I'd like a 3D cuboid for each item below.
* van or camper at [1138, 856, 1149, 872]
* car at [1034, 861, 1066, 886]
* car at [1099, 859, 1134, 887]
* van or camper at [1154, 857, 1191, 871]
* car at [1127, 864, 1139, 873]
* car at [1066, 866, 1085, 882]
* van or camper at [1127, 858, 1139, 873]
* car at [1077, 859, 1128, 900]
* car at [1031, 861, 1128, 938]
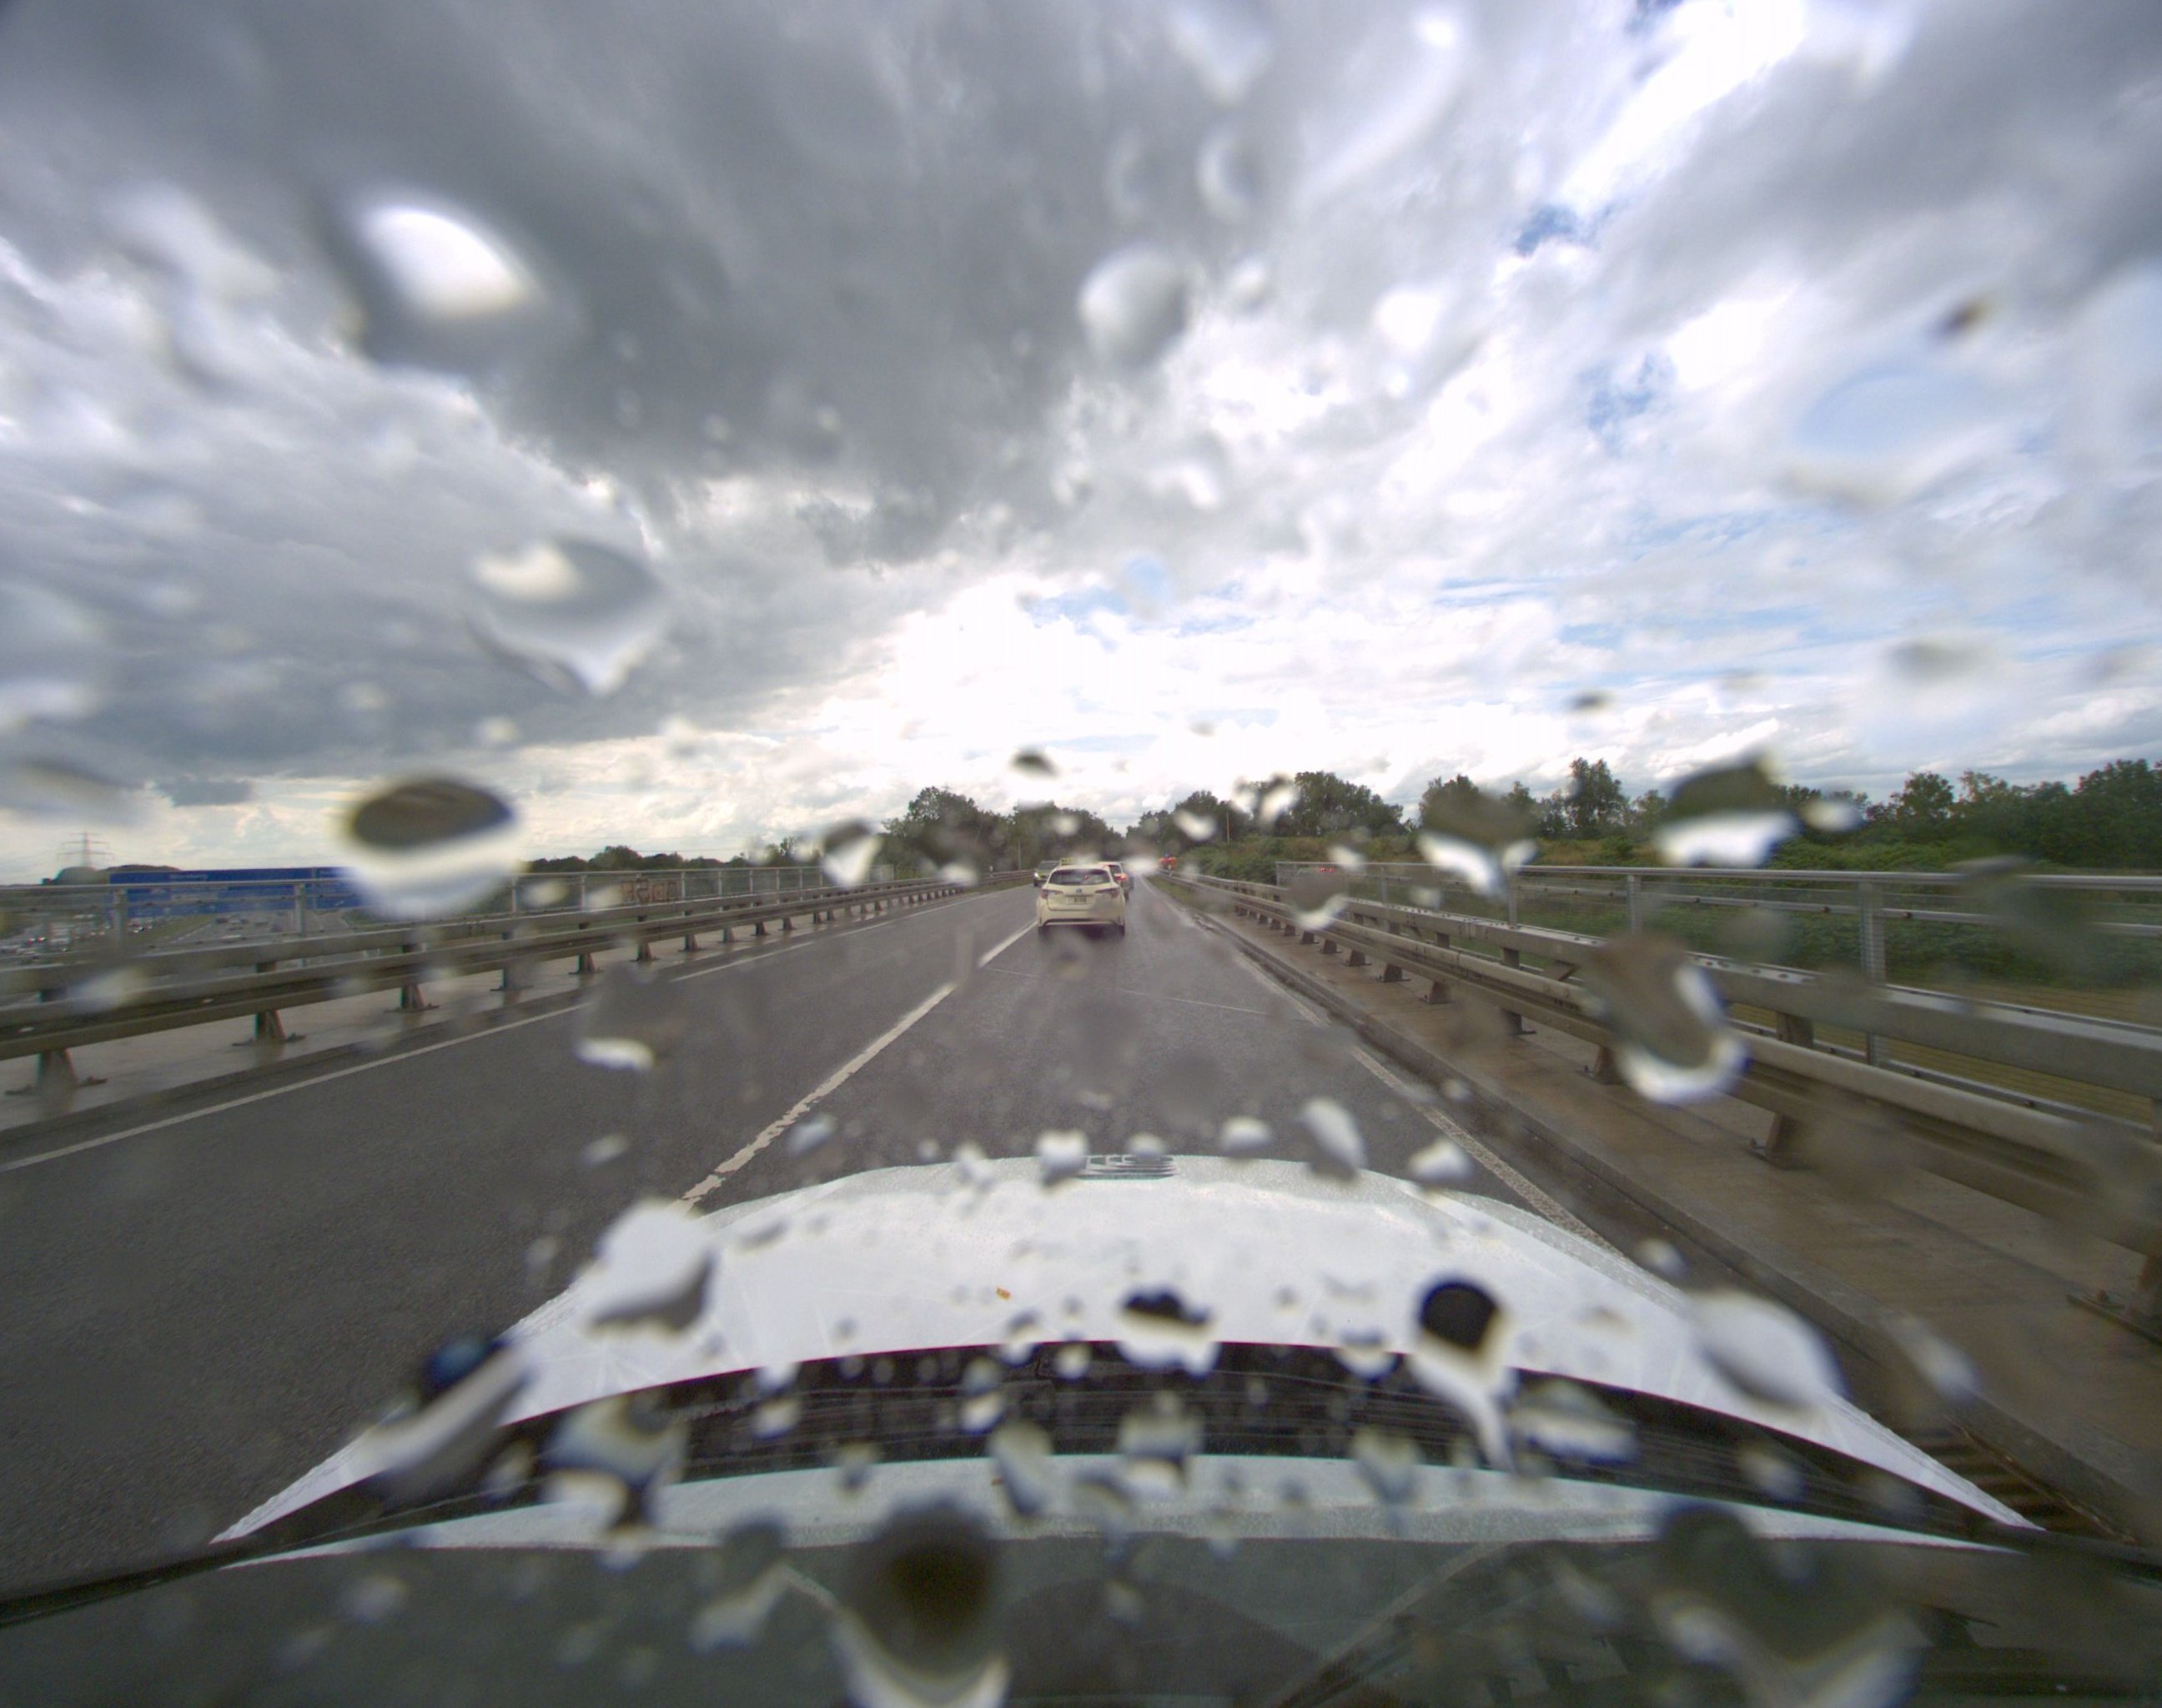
[{"bbox_3d":[14.728,2.294,191.925,2.322,3.562,6.313,0,0,4],"label":"van or camper"},{"bbox_3d":[-1.911,1.210,51.203,1.707,1.517,3.861,0,-1,2],"label":"car"},{"bbox_3d":[1.990,1.033,45.387,1.847,1.443,4.173,0,0,2],"label":"car"},{"bbox_3d":[14.969,1.693,133.307,5.682,2.241,2.012,0,0,-12],"label":"van or camper"},{"bbox_3d":[8.742,2.457,137.183,1.845,1.443,4.178,0,0,6],"label":"car"},{"bbox_3d":[-0.483,1.934,78.891,1.690,1.432,4.325,0,0,2],"label":"car"},{"bbox_3d":[10.249,2.242,160.766,2.322,2.864,6.313,0,0,4],"label":"van or camper"},{"bbox_3d":[0.879,0.929,31.887,1.847,1.443,4.173,0,0,2],"label":"car"},{"bbox_3d":[0.060,0.887,17.550,1.847,1.394,4.173,0,0,2],"label":"car"}]
